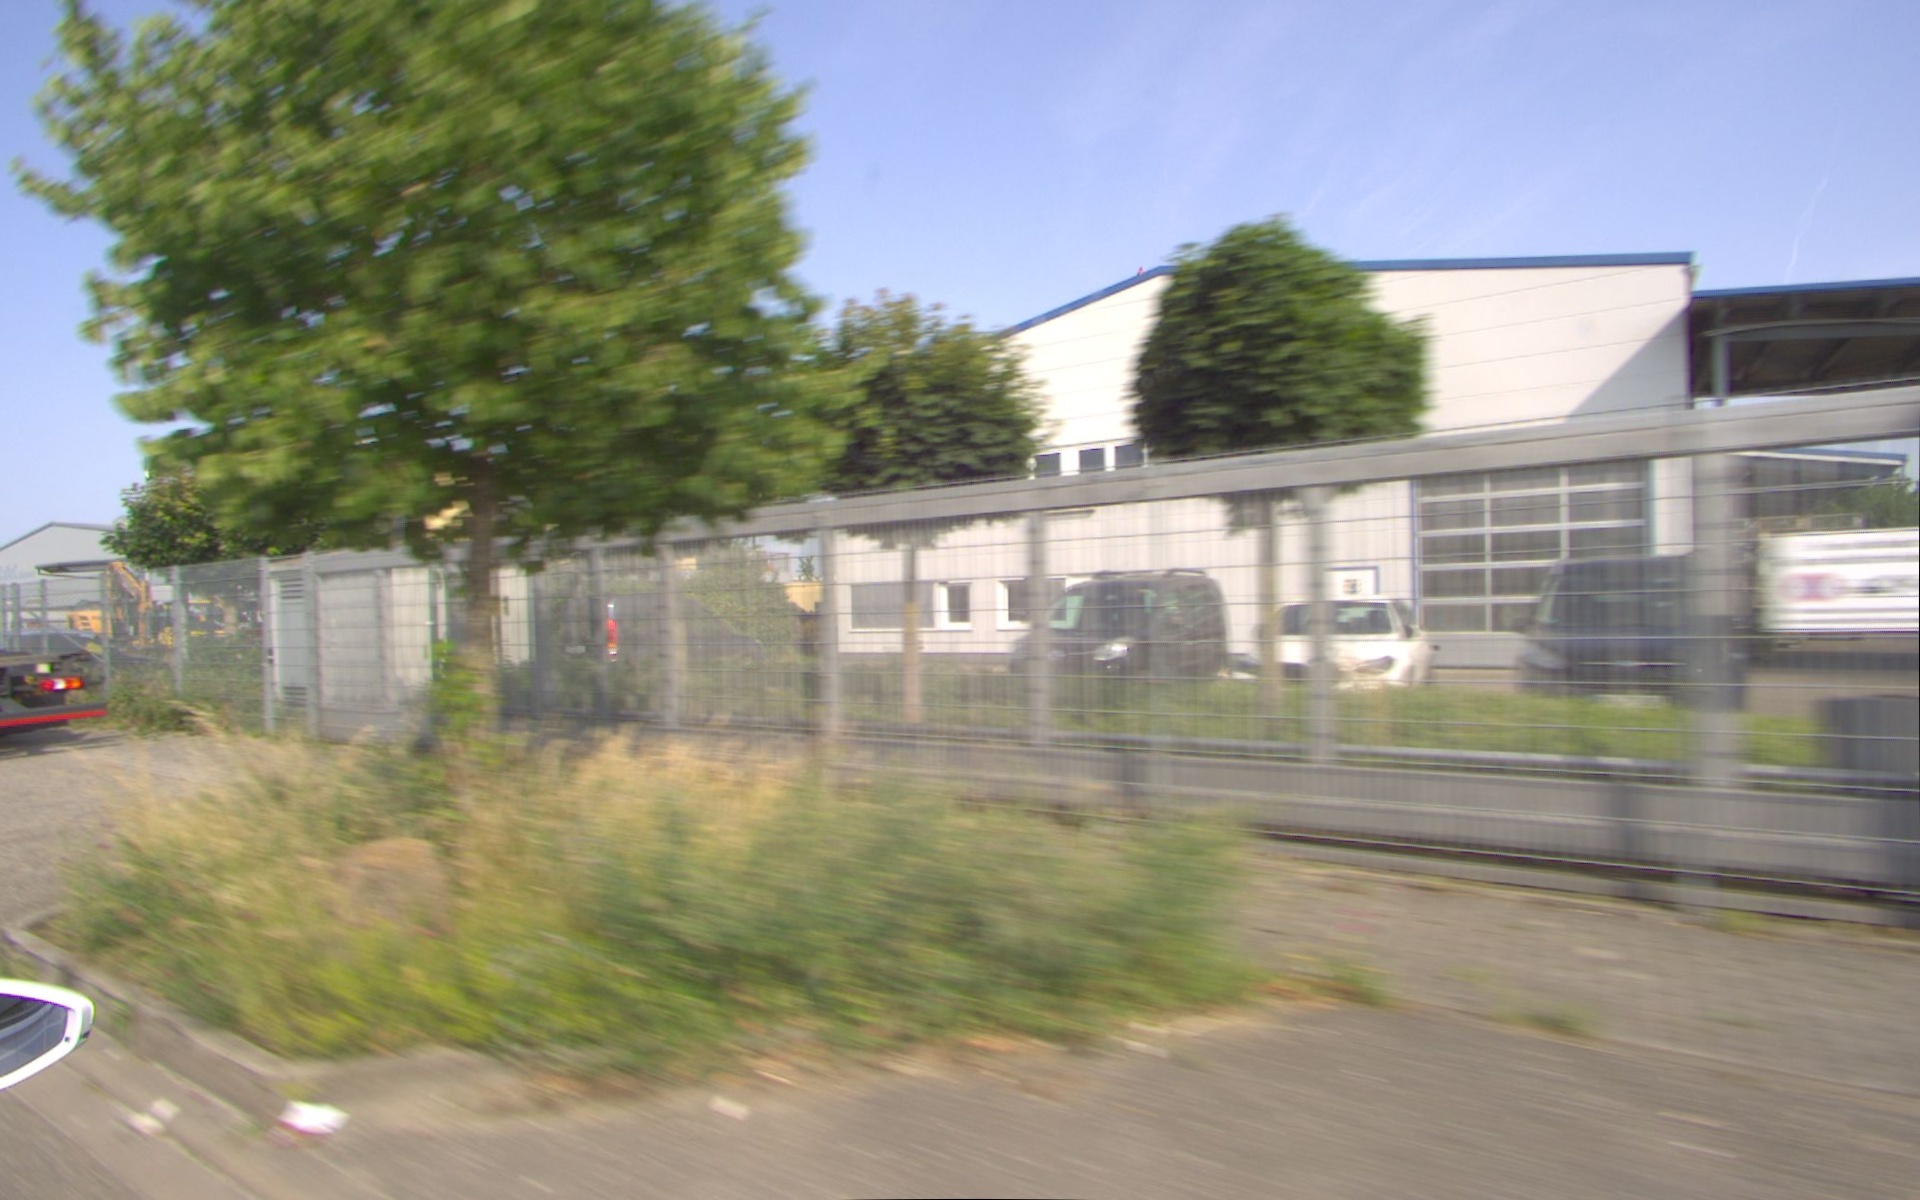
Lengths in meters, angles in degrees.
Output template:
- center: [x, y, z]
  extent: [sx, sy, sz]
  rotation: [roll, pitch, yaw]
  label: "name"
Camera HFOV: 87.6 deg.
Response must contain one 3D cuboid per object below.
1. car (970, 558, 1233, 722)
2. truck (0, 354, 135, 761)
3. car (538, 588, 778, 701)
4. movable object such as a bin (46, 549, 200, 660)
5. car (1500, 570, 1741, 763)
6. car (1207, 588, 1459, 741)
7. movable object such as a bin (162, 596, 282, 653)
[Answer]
- center: [2.042, 0.452, 13.068]
  extent: [1.969, 1.744, 4.481]
  rotation: [-1, -1, 28]
  label: "car"
- center: [-13.829, -0.327, 12.270]
  extent: [9.548, 4.070, 2.738]
  rotation: [-1, 2, 32]
  label: "truck"
- center: [-5.494, 0.766, 18.726]
  extent: [1.884, 1.858, 4.082]
  rotation: [-1, -1, 31]
  label: "car"
- center: [-39.616, 0.267, 47.338]
  extent: [7.561, 4.870, 3.310]
  rotation: [-1, 0, 31]
  label: "movable object such as a bin"
- center: [6.543, 0.529, 9.805]
  extent: [1.632, 1.480, 3.993]
  rotation: [-1, -1, 37]
  label: "car"
- center: [4.541, 0.641, 11.820]
  extent: [1.731, 1.480, 3.993]
  rotation: [-1, -1, 37]
  label: "car"
- center: [-37.600, 1.227, 50.969]
  extent: [6.256, 2.752, 2.695]
  rotation: [-1, 1, 31]
  label: "movable object such as a bin"
